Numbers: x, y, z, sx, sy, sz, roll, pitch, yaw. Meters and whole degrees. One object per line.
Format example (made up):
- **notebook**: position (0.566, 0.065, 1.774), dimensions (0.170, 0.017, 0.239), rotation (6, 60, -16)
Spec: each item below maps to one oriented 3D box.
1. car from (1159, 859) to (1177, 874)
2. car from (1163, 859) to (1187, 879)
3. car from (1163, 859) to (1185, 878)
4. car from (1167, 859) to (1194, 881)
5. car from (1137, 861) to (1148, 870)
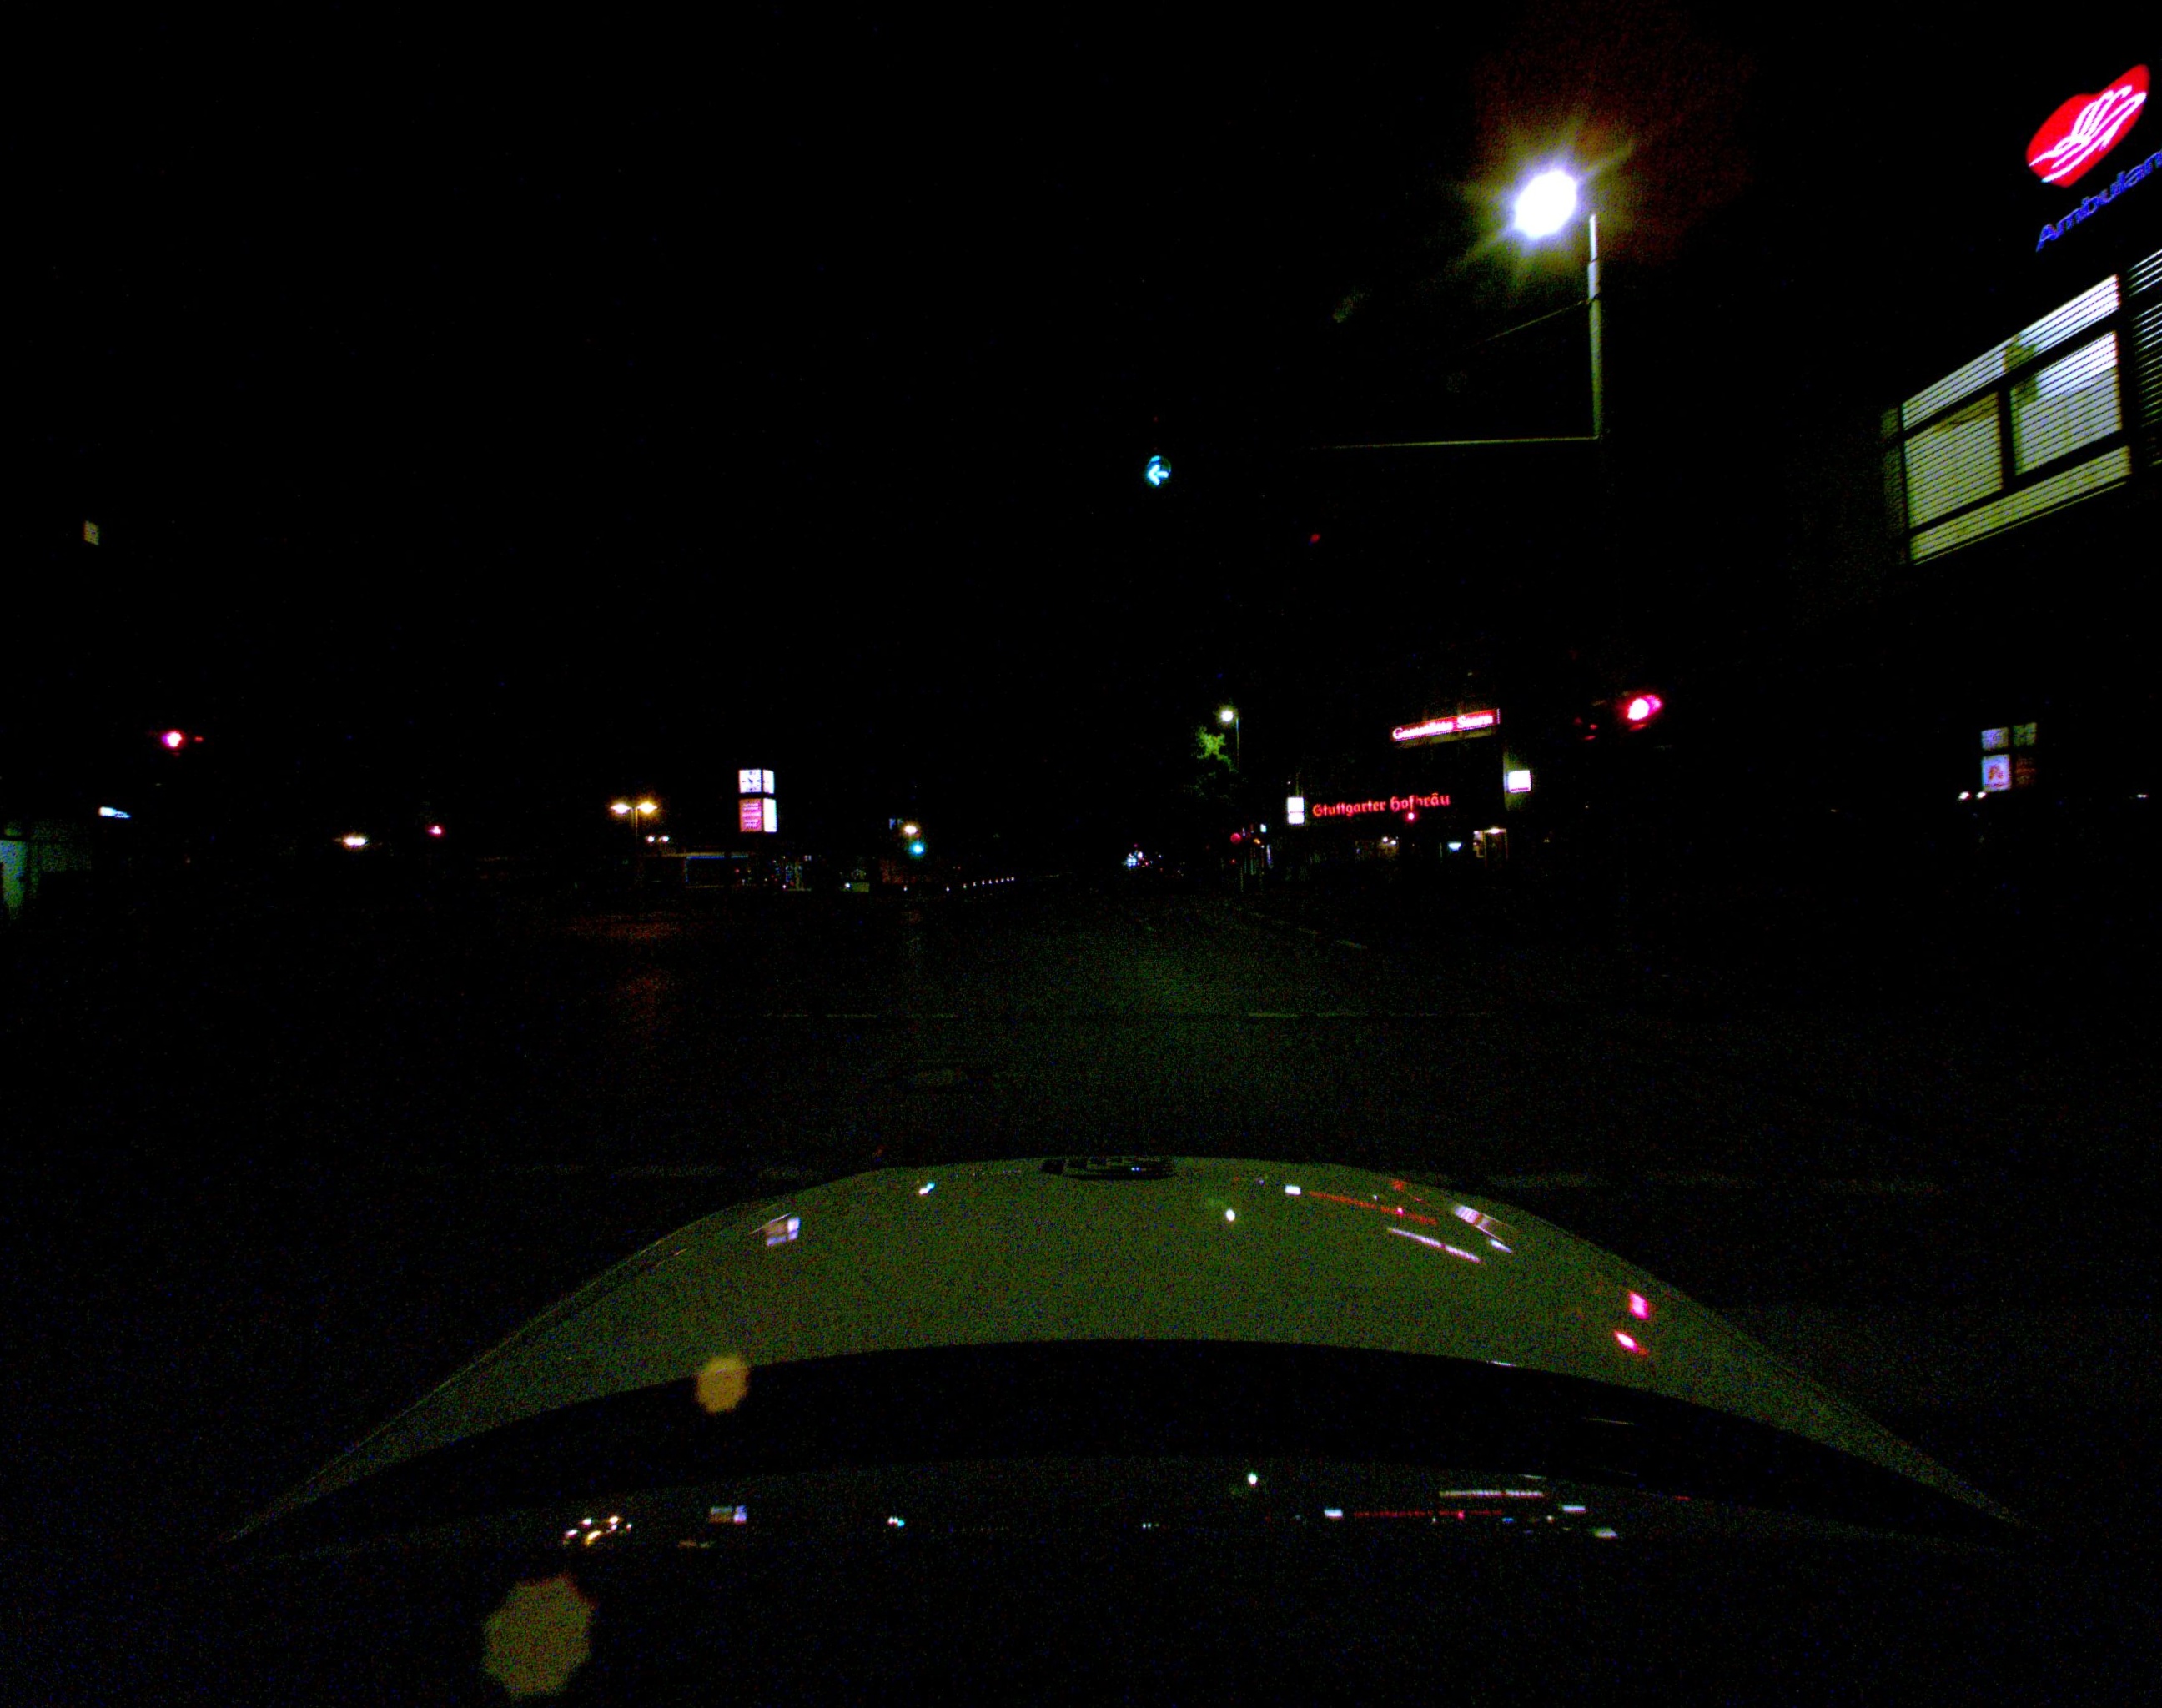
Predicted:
- **car**: position (10.057, 1.456, 94.108), dimensions (1.868, 1.684, 4.005), rotation (-2, -1, 5)
- **car**: position (7.882, 1.258, 68.463), dimensions (1.868, 1.615, 4.005), rotation (-2, -1, 5)
- **car**: position (8.679, 1.352, 76.118), dimensions (1.868, 1.729, 4.005), rotation (-2, -1, 5)
- **car**: position (7.732, 1.243, 63.377), dimensions (1.868, 1.615, 4.005), rotation (-2, -1, 5)
- **car**: position (10.675, 2.004, 141.906), dimensions (1.866, 1.454, 4.319), rotation (0, -1, 3)
